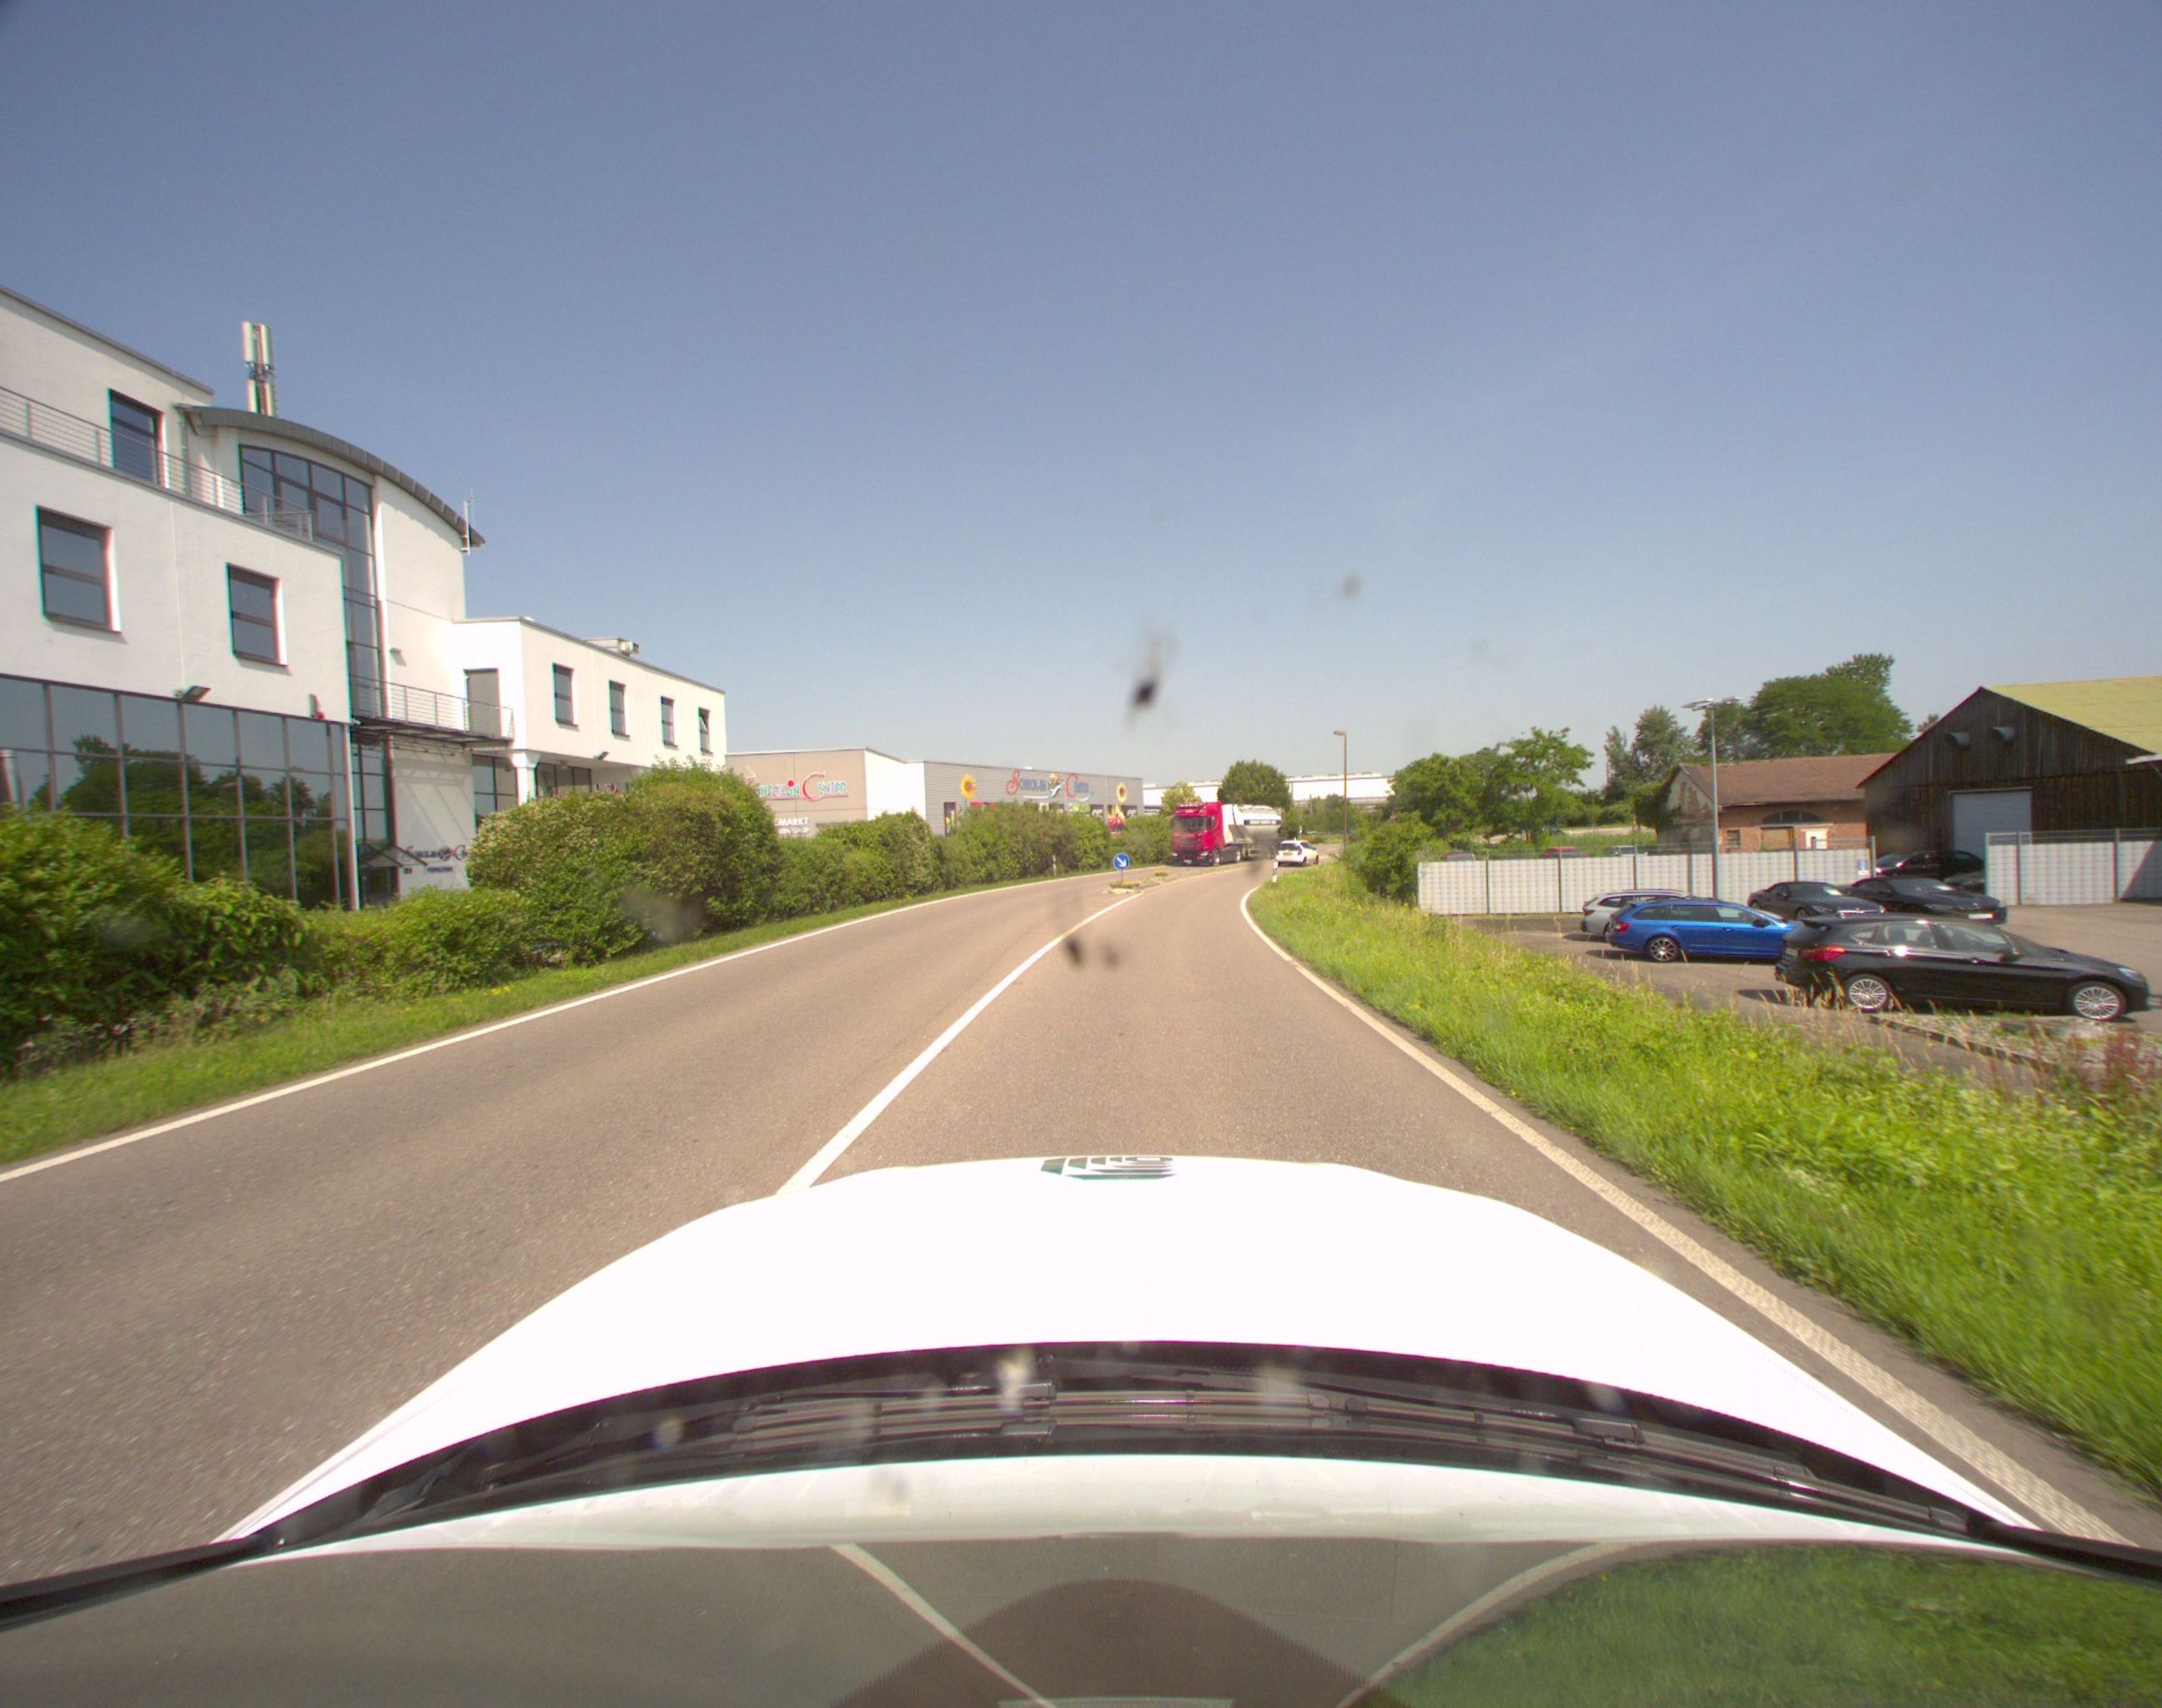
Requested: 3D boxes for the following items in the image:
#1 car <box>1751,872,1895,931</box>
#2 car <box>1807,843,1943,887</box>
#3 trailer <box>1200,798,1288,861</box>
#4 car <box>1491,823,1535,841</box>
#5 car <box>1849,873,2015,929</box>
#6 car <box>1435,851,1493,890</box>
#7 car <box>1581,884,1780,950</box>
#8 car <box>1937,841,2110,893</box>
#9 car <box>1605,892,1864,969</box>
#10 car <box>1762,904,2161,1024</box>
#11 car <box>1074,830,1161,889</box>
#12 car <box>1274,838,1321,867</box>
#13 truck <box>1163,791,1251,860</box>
[{"bbox_3d":[22.771,1.396,25.240,1.834,1.534,4.669,-1,0,23],"label":"car"},{"bbox_3d":[33.123,0.482,34.096,3.708,1.750,1.681,-1,0,17],"label":"car"},{"bbox_3d":[11.571,-1.612,57.001,2.851,4.030,8.751,-1,0,33],"label":"trailer"},{"bbox_3d":[42.024,-2.120,79.286,3.796,1.603,1.774,0,0,-23],"label":"car"},{"bbox_3d":[25.109,1.333,24.255,1.976,1.398,4.022,-1,0,23],"label":"car"},{"bbox_3d":[21.119,0.876,45.069,1.980,2.014,4.013,-1,0,12],"label":"car"},{"bbox_3d":[16.694,1.689,22.790,4.317,1.502,1.854,-1,1,41],"label":"car"},{"bbox_3d":[33.377,0.468,28.961,3.710,1.750,1.680,-1,0,15],"label":"car"},{"bbox_3d":[15.416,1.750,19.582,4.584,1.498,1.868,-1,2,29],"label":"car"},{"bbox_3d":[14.616,1.721,13.634,4.585,1.605,1.867,-1,0,26],"label":"car"},{"bbox_3d":[1.424,0.212,30.129,1.976,2.014,4.021,-1,0,21],"label":"car"},{"bbox_3d":[13.330,-0.078,50.048,1.765,1.603,3.916,5,1,29],"label":"car"},{"bbox_3d":[8.104,-1.683,51.805,2.853,4.030,6.764,-1,-1,34],"label":"truck"}]
